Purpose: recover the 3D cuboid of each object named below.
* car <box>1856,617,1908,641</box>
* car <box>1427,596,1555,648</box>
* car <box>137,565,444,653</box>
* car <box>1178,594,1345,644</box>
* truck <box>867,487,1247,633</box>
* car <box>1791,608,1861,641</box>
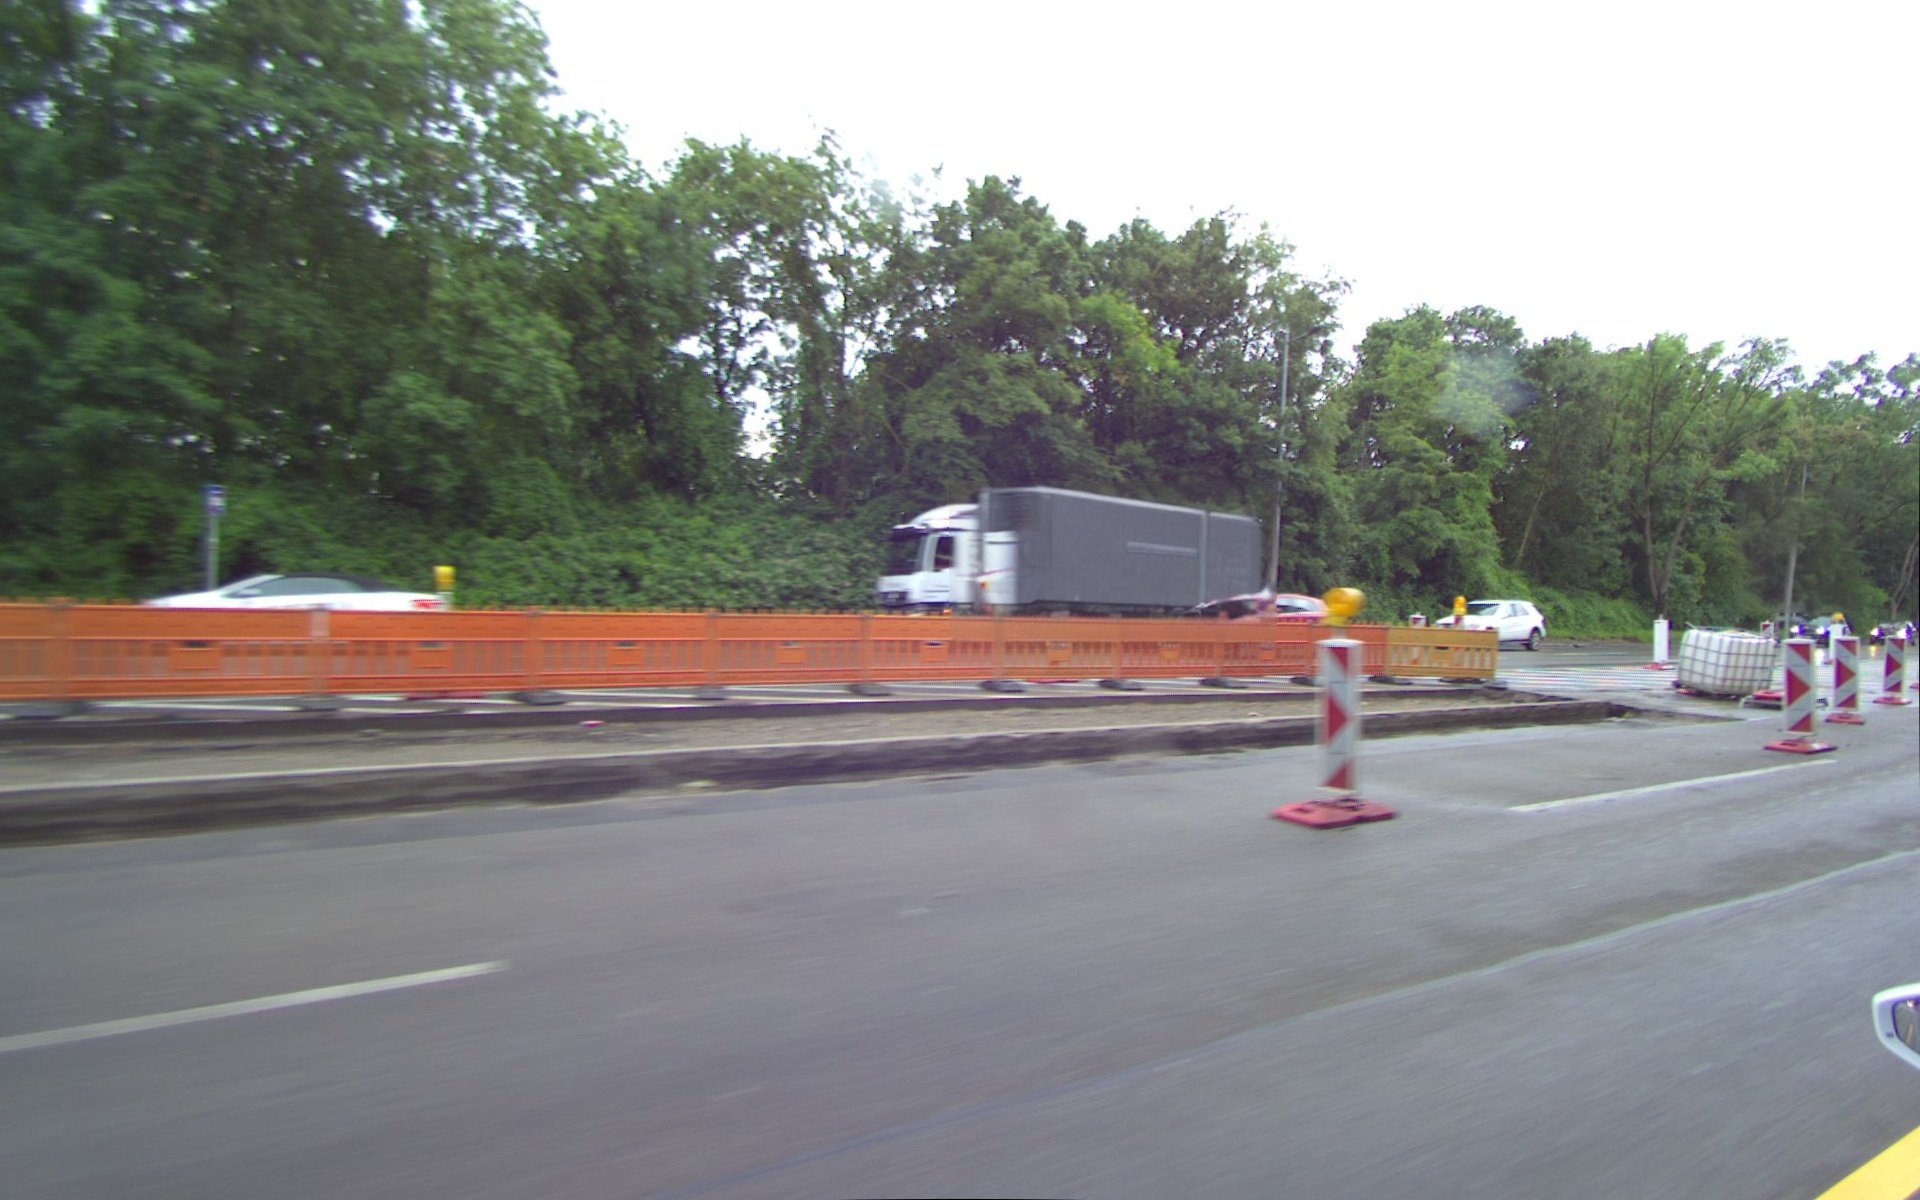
[{"bbox_3d":[56.469,1.772,61.486,3.501,1.476,1.517,1,-1,-33],"label":"car"},{"bbox_3d":[18.941,0.818,35.819,4.663,1.746,1.836,1,-3,-30],"label":"car"},{"bbox_3d":[-11.634,0.175,17.833,4.317,1.397,1.801,1,1,-30],"label":"car"},{"bbox_3d":[7.707,0.496,25.581,4.232,1.168,1.598,1,1,-30],"label":"car"},{"bbox_3d":[2.759,-0.839,26.069,10.027,3.190,2.782,1,1,-30],"label":"truck"},{"bbox_3d":[45.470,1.268,52.694,4.152,1.669,1.626,1,0,-32],"label":"car"}]
